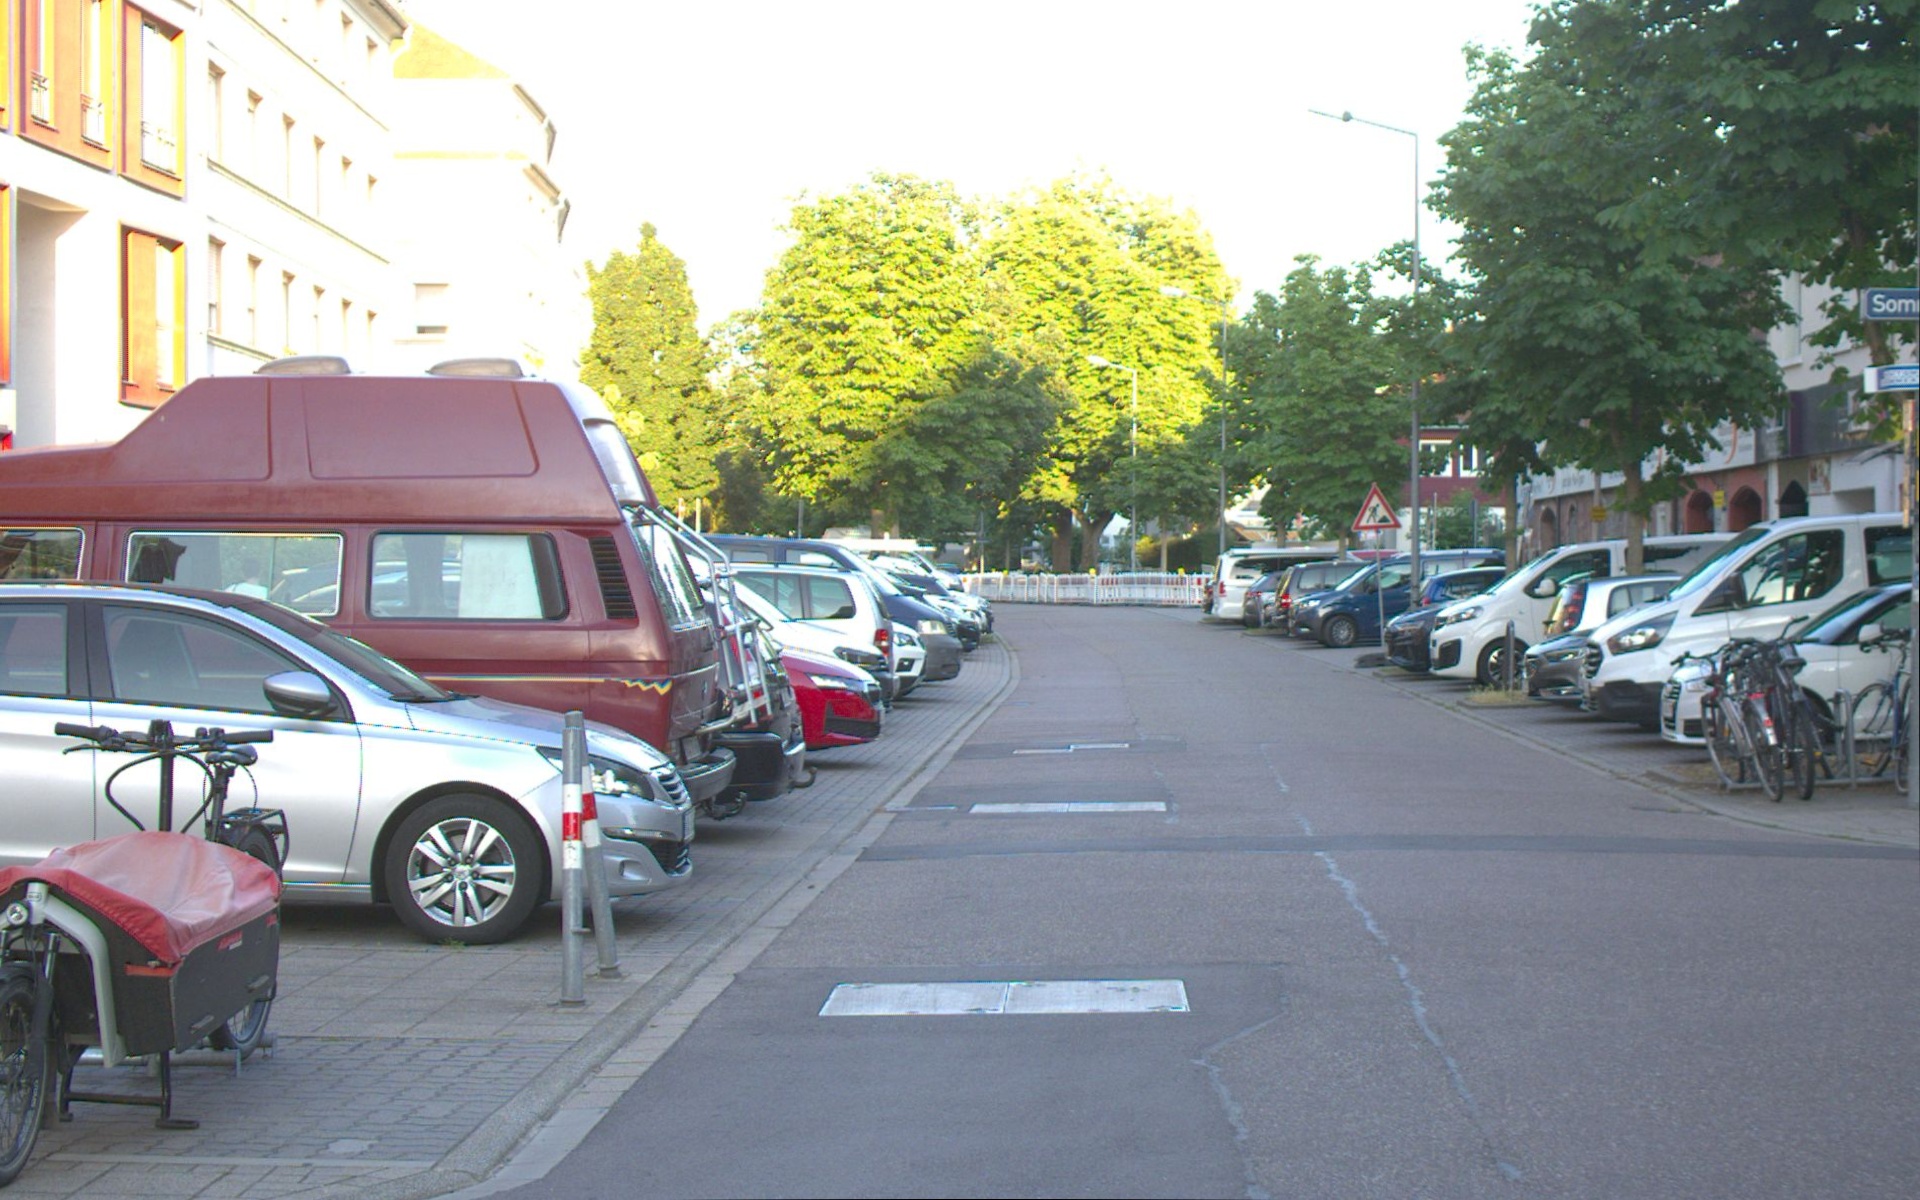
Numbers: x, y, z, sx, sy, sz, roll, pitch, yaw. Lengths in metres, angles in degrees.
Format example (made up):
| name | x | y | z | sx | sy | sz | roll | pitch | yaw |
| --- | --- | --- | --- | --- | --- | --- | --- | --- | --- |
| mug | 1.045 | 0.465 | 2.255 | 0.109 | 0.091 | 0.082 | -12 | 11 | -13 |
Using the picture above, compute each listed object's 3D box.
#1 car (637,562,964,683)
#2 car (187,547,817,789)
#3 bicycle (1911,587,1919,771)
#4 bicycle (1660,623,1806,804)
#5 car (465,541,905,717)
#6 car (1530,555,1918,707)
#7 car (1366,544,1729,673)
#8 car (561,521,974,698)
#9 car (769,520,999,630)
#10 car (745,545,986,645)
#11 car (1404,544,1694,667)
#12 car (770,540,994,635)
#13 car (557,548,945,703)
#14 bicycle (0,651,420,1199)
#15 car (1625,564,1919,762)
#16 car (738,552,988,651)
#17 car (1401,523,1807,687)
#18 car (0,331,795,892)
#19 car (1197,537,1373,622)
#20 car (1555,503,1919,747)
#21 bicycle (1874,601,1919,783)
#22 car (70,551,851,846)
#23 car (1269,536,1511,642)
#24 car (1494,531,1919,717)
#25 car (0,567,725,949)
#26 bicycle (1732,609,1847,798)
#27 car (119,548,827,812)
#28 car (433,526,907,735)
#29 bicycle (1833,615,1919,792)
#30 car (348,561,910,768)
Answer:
| name | x | y | z | sx | sy | sz | roll | pitch | yaw |
| --- | --- | --- | --- | --- | --- | --- | --- | --- | --- |
| car | -2.145 | 0.289 | 47.052 | 4.257 | 1.500 | 2.000 | 1 | 1 | 3 |
| car | -3.217 | 0.459 | 24.804 | 4.209 | 1.570 | 2.000 | 1 | 1 | 2 |
| bicycle | 6.898 | 0.567 | 23.390 | 0.386 | 1.300 | 2.017 | -1 | 1 | 3 |
| bicycle | 5.216 | 0.741 | 23.285 | 0.438 | 1.126 | 2.017 | -1 | 1 | -2 |
| car | -2.782 | 0.275 | 35.471 | 4.257 | 1.654 | 2.000 | 1 | 1 | 3 |
| car | 8.431 | 0.322 | 38.212 | 3.912 | 1.521 | 1.939 | -2 | 0 | 4 |
| car | 8.546 | 0.114 | 50.356 | 4.944 | 1.683 | 2.077 | -2 | 0 | 2 |
| car | -2.322 | 0.100 | 42.364 | 4.851 | 2.014 | 1.906 | 1 | 1 | 3 |
| car | -1.536 | -0.522 | 70.868 | 4.534 | 2.127 | 2.000 | 1 | 1 | 3 |
| car | -1.714 | -0.111 | 63.460 | 4.257 | 1.709 | 2.000 | 1 | 1 | 3 |
| car | 9.421 | 0.085 | 55.216 | 4.317 | 1.798 | 1.811 | -2 | 0 | 2 |
| car | -1.525 | -0.255 | 68.228 | 4.257 | 1.743 | 2.000 | 1 | 1 | 3 |
| car | -2.379 | 0.274 | 39.809 | 4.257 | 1.646 | 1.888 | 1 | 1 | 3 |
| bicycle | -2.230 | 0.798 | 9.445 | 0.808 | 1.217 | 2.865 | 1 | 1 | 4 |
| car | 7.465 | 0.453 | 27.490 | 3.918 | 1.446 | 1.768 | -2 | 1 | 1 |
| car | -1.686 | 0.009 | 60.713 | 4.257 | 1.616 | 2.000 | 1 | 1 | 2 |
| car | 8.439 | 0.057 | 45.406 | 4.944 | 1.951 | 2.049 | -2 | 0 | 2 |
| car | -3.233 | 0.020 | 17.391 | 4.512 | 2.575 | 2.000 | 1 | 1 | 5 |
| car | 7.874 | -0.507 | 83.544 | 3.968 | 1.905 | 2.049 | -2 | 0 | -1 |
| car | 7.905 | 0.166 | 30.251 | 4.990 | 1.976 | 2.219 | -2 | 0 | 4 |
| bicycle | 6.636 | 0.620 | 23.398 | 0.386 | 1.196 | 2.017 | -1 | 1 | 3 |
| car | -2.803 | 0.532 | 19.943 | 4.209 | 1.533 | 1.791 | 1 | 1 | 2 |
| car | 8.475 | -0.220 | 67.920 | 4.478 | 1.905 | 1.688 | -2 | 0 | -1 |
| car | 8.139 | 0.218 | 35.592 | 4.945 | 1.736 | 2.049 | -2 | 0 | 4 |
| car | -3.403 | 0.613 | 14.825 | 4.615 | 1.455 | 1.881 | 1 | 1 | 0 |
| bicycle | 5.642 | 0.679 | 23.444 | 0.386 | 1.196 | 2.017 | -1 | 1 | 3 |
| car | -3.133 | 0.480 | 22.535 | 4.211 | 1.533 | 1.841 | 2 | 1 | 9 |
| car | -2.724 | 0.268 | 32.990 | 4.257 | 1.830 | 2.000 | 1 | 1 | 3 |
| bicycle | 6.353 | 0.679 | 23.431 | 0.386 | 1.110 | 2.017 | -1 | 1 | 3 |
| car | -2.590 | 0.485 | 27.552 | 4.209 | 1.484 | 1.849 | 1 | 1 | 4 |
